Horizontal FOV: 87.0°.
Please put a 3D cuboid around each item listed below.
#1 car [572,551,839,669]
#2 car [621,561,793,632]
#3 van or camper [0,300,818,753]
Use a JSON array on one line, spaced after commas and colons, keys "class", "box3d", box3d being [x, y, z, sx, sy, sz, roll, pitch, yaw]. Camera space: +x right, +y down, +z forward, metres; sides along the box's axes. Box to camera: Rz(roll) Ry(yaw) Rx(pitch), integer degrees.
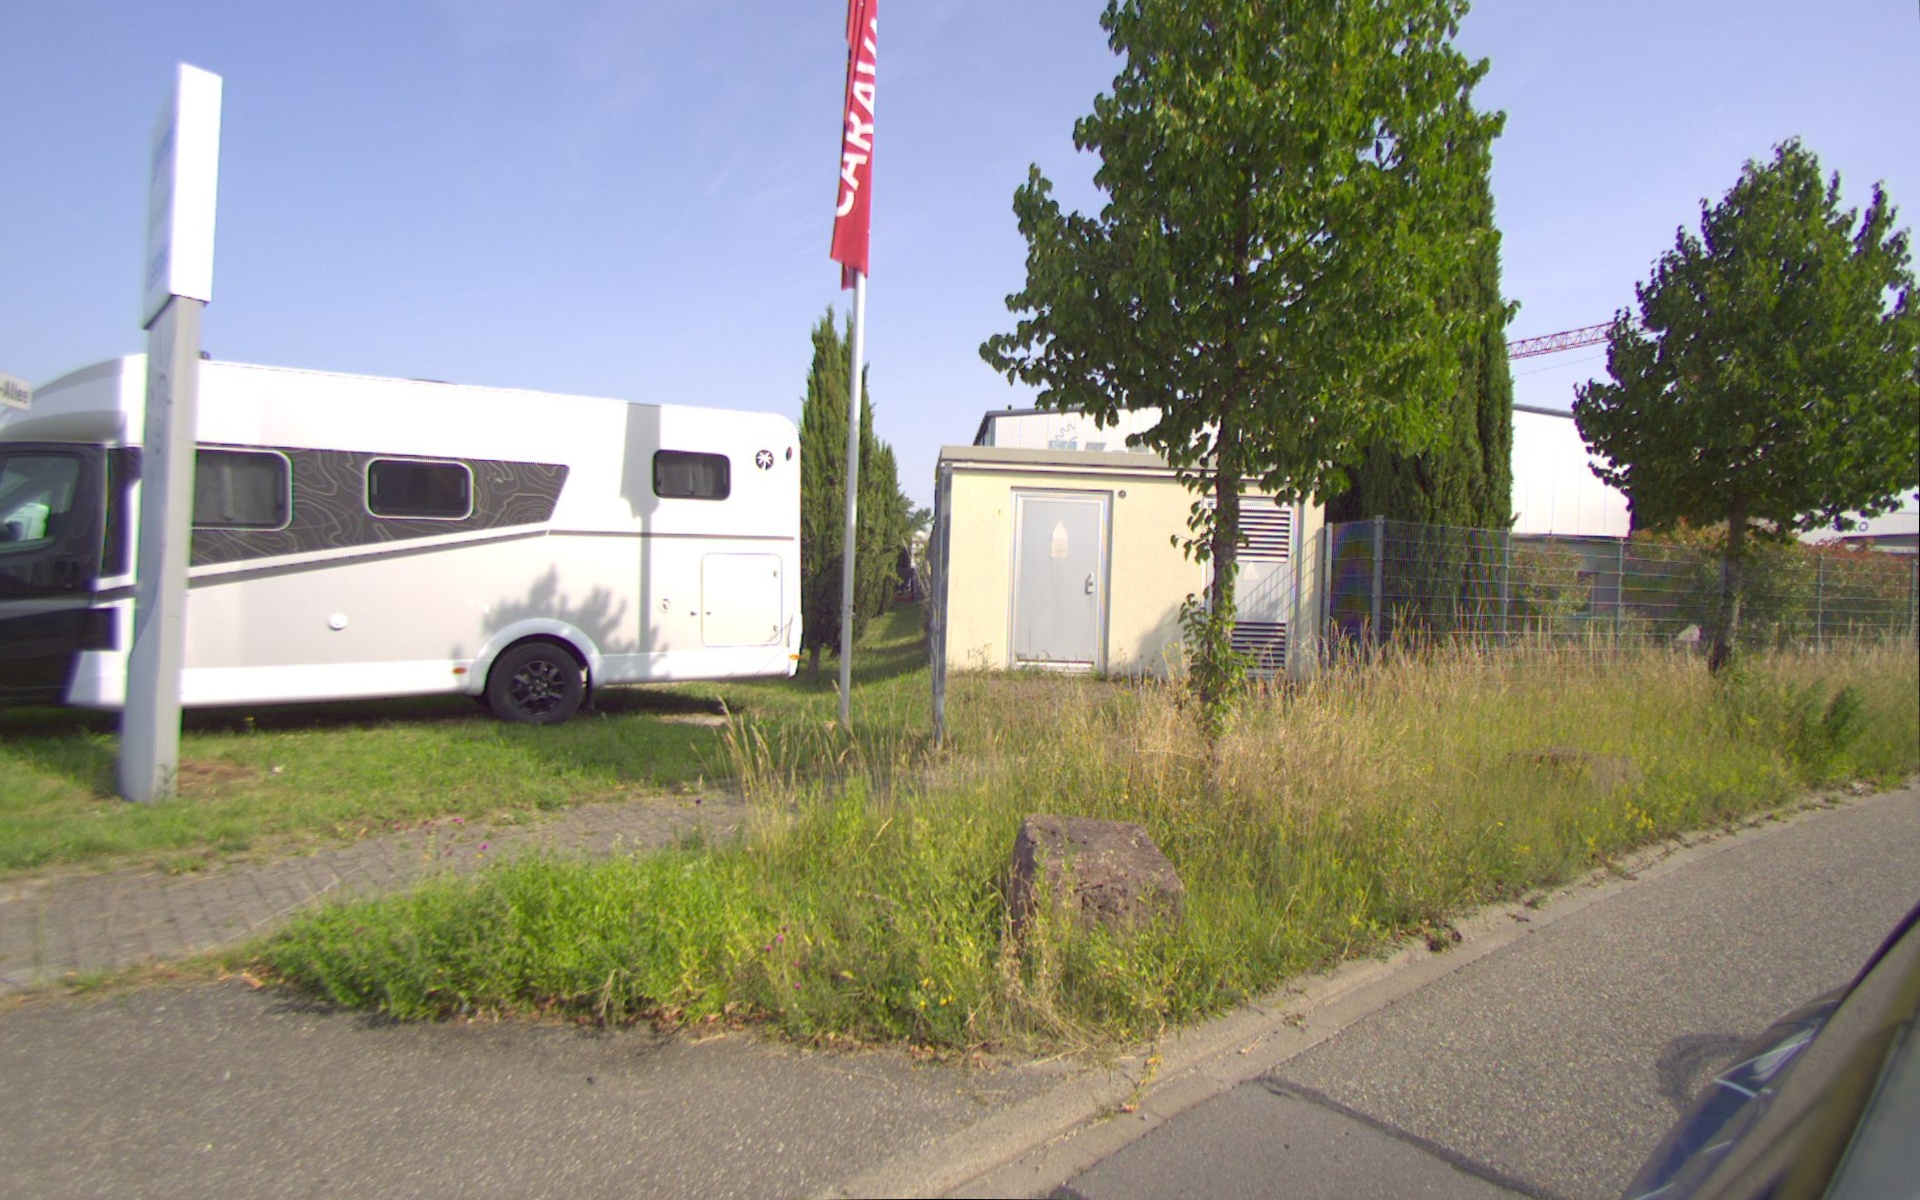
[{"class": "car", "box3d": [-3.951, 0.171, 16.254, 3.918, 1.664, 1.730, 2, -1, -7]}, {"class": "car", "box3d": [-6.140, -0.113, 24.957, 3.918, 1.498, 1.719, 3, 2, -8]}, {"class": "van or camper", "box3d": [-5.006, -0.499, 8.576, 7.199, 2.883, 2.358, 0, 1, -33]}]
